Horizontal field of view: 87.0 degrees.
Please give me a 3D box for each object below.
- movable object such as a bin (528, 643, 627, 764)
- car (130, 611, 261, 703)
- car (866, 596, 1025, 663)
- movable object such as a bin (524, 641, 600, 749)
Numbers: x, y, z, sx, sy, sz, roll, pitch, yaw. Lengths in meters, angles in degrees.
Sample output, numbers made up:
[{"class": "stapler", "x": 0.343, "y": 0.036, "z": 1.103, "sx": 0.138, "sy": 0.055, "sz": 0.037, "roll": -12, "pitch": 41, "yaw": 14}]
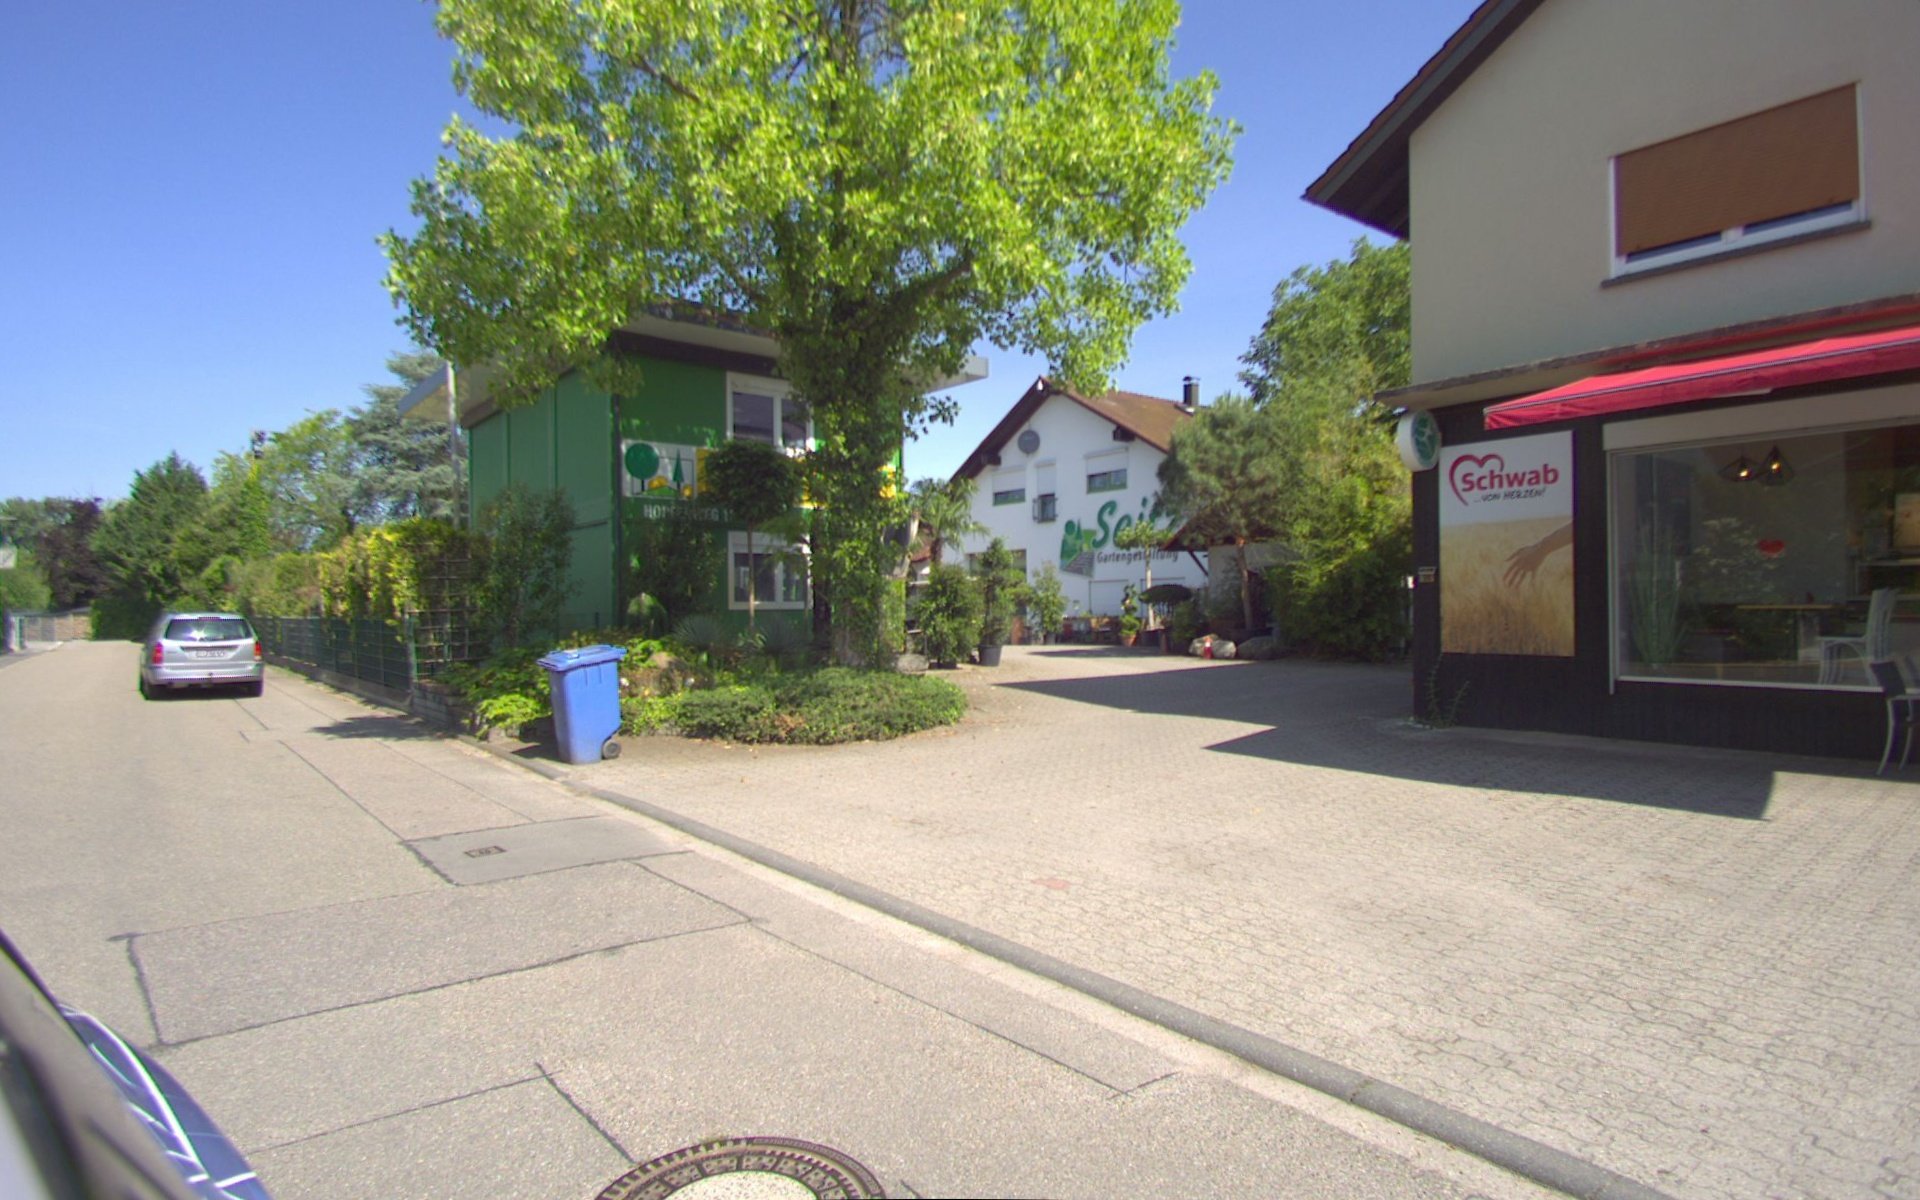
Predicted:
[{"class": "movable object such as a bin", "x": -3.691, "y": 0.972, "z": 9.763, "sx": 0.721, "sy": 1.062, "sz": 0.613, "roll": -1, "pitch": 0, "yaw": -39}, {"class": "car", "x": -14.267, "y": 0.993, "z": 18.793, "sx": 1.730, "sy": 1.498, "sz": 4.383, "roll": 2, "pitch": -2, "yaw": -39}, {"class": "car", "x": -0.433, "y": 0.667, "z": 25.028, "sx": 1.833, "sy": 1.458, "sz": 4.007, "roll": -2, "pitch": 2, "yaw": -39}, {"class": "movable object such as a bin", "x": -4.135, "y": 0.966, "z": 10.510, "sx": 0.575, "sy": 1.032, "sz": 0.569, "roll": -1, "pitch": 0, "yaw": -39}]
